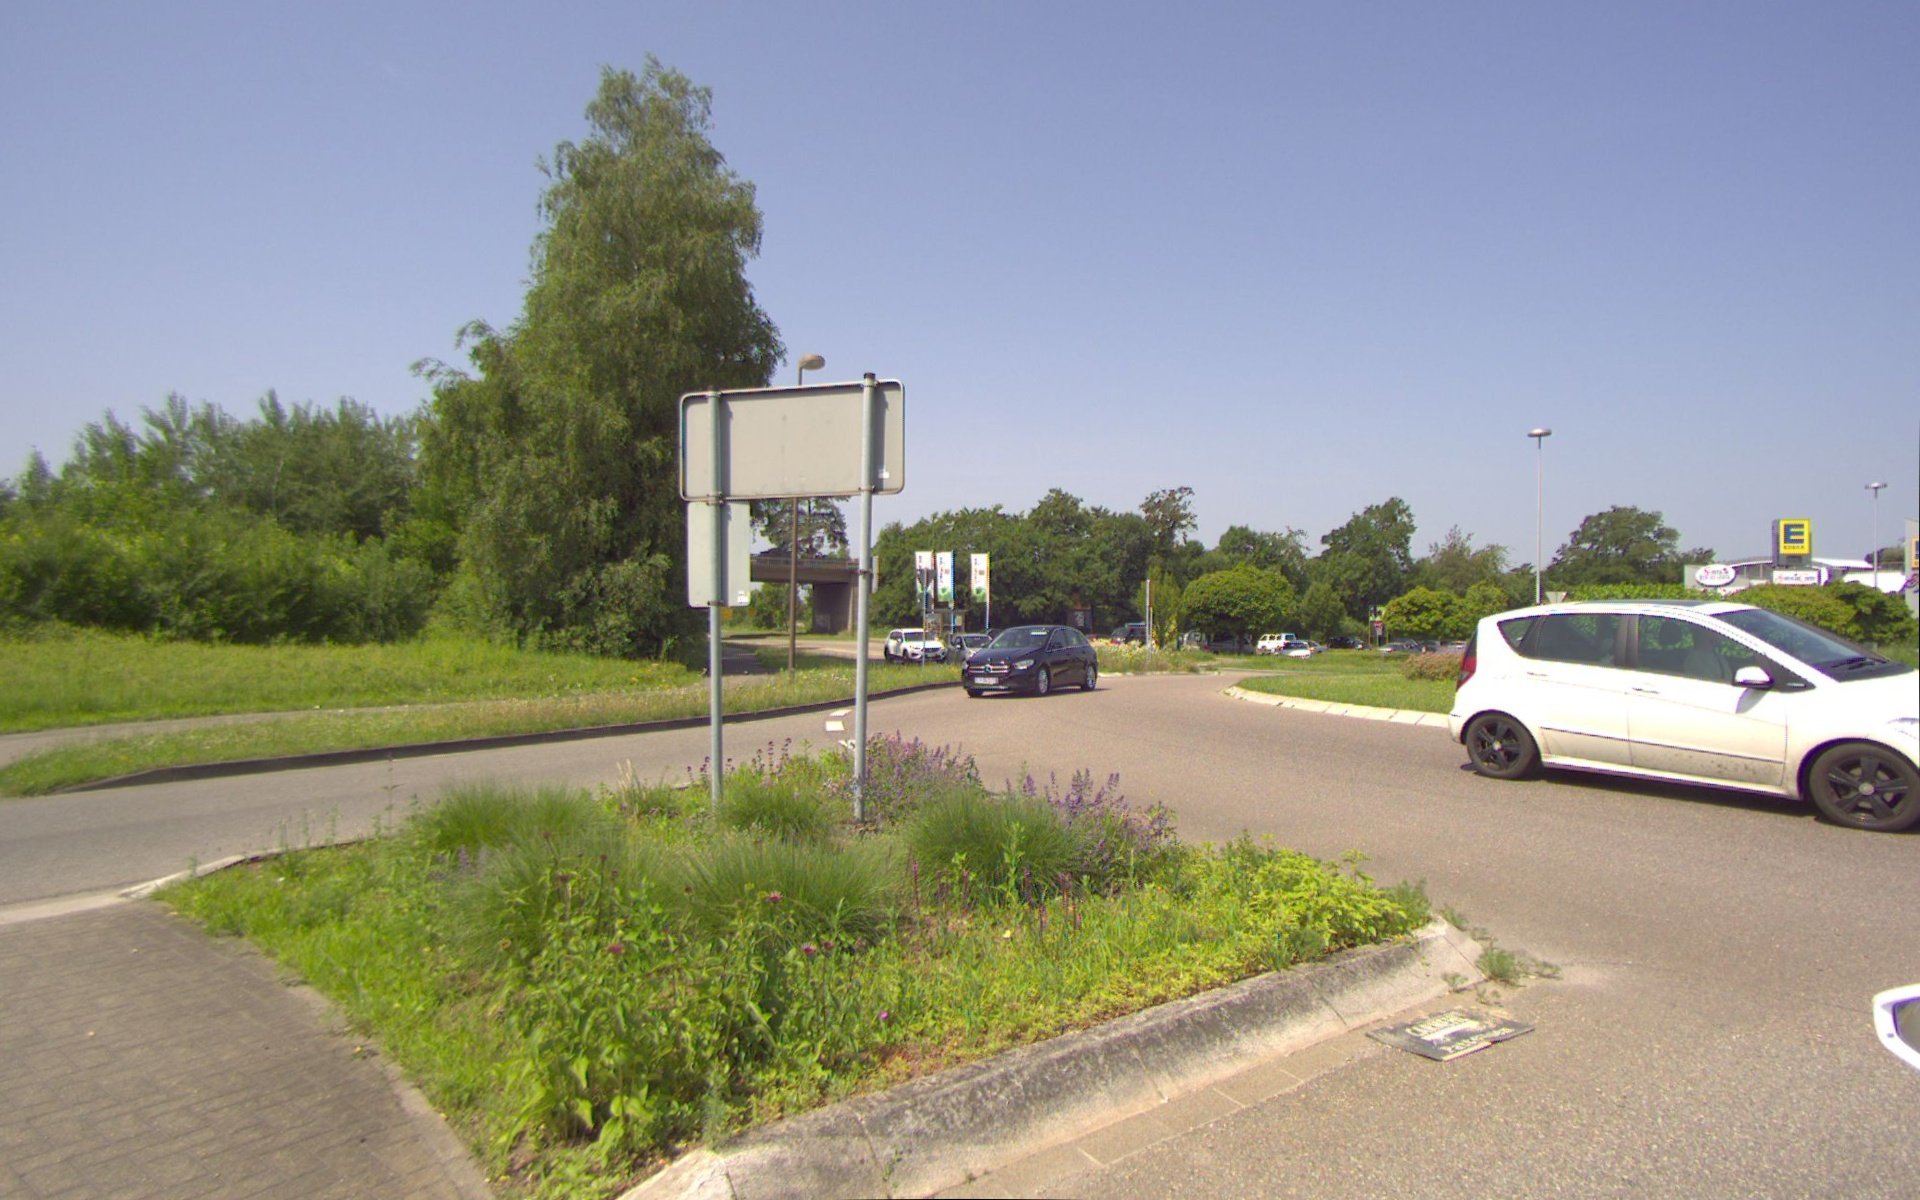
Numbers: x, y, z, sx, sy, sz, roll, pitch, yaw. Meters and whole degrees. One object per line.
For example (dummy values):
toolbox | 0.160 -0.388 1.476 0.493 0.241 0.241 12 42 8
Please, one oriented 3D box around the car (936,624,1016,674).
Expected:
car | 0.552 1.831 38.821 2.093 1.637 4.187 0 1 -14

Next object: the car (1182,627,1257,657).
car | 15.522 2.514 60.067 4.359 1.582 1.859 3 -1 -33

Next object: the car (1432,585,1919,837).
car | 6.182 0.714 8.266 1.766 1.625 3.861 0 0 -30

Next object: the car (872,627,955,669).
car | -2.257 2.215 47.208 2.167 1.674 5.091 2 0 -24

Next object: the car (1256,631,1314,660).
car | 19.285 2.692 59.650 1.576 1.517 2.798 3 -1 -45

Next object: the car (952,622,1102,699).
car | 1.595 1.325 22.447 1.726 1.550 4.207 -2 -3 29

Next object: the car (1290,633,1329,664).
car | 19.248 2.635 55.468 1.553 1.517 4.568 2 -1 14

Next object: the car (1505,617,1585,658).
car | 31.778 2.025 54.598 3.943 2.040 1.684 3 -1 -23
